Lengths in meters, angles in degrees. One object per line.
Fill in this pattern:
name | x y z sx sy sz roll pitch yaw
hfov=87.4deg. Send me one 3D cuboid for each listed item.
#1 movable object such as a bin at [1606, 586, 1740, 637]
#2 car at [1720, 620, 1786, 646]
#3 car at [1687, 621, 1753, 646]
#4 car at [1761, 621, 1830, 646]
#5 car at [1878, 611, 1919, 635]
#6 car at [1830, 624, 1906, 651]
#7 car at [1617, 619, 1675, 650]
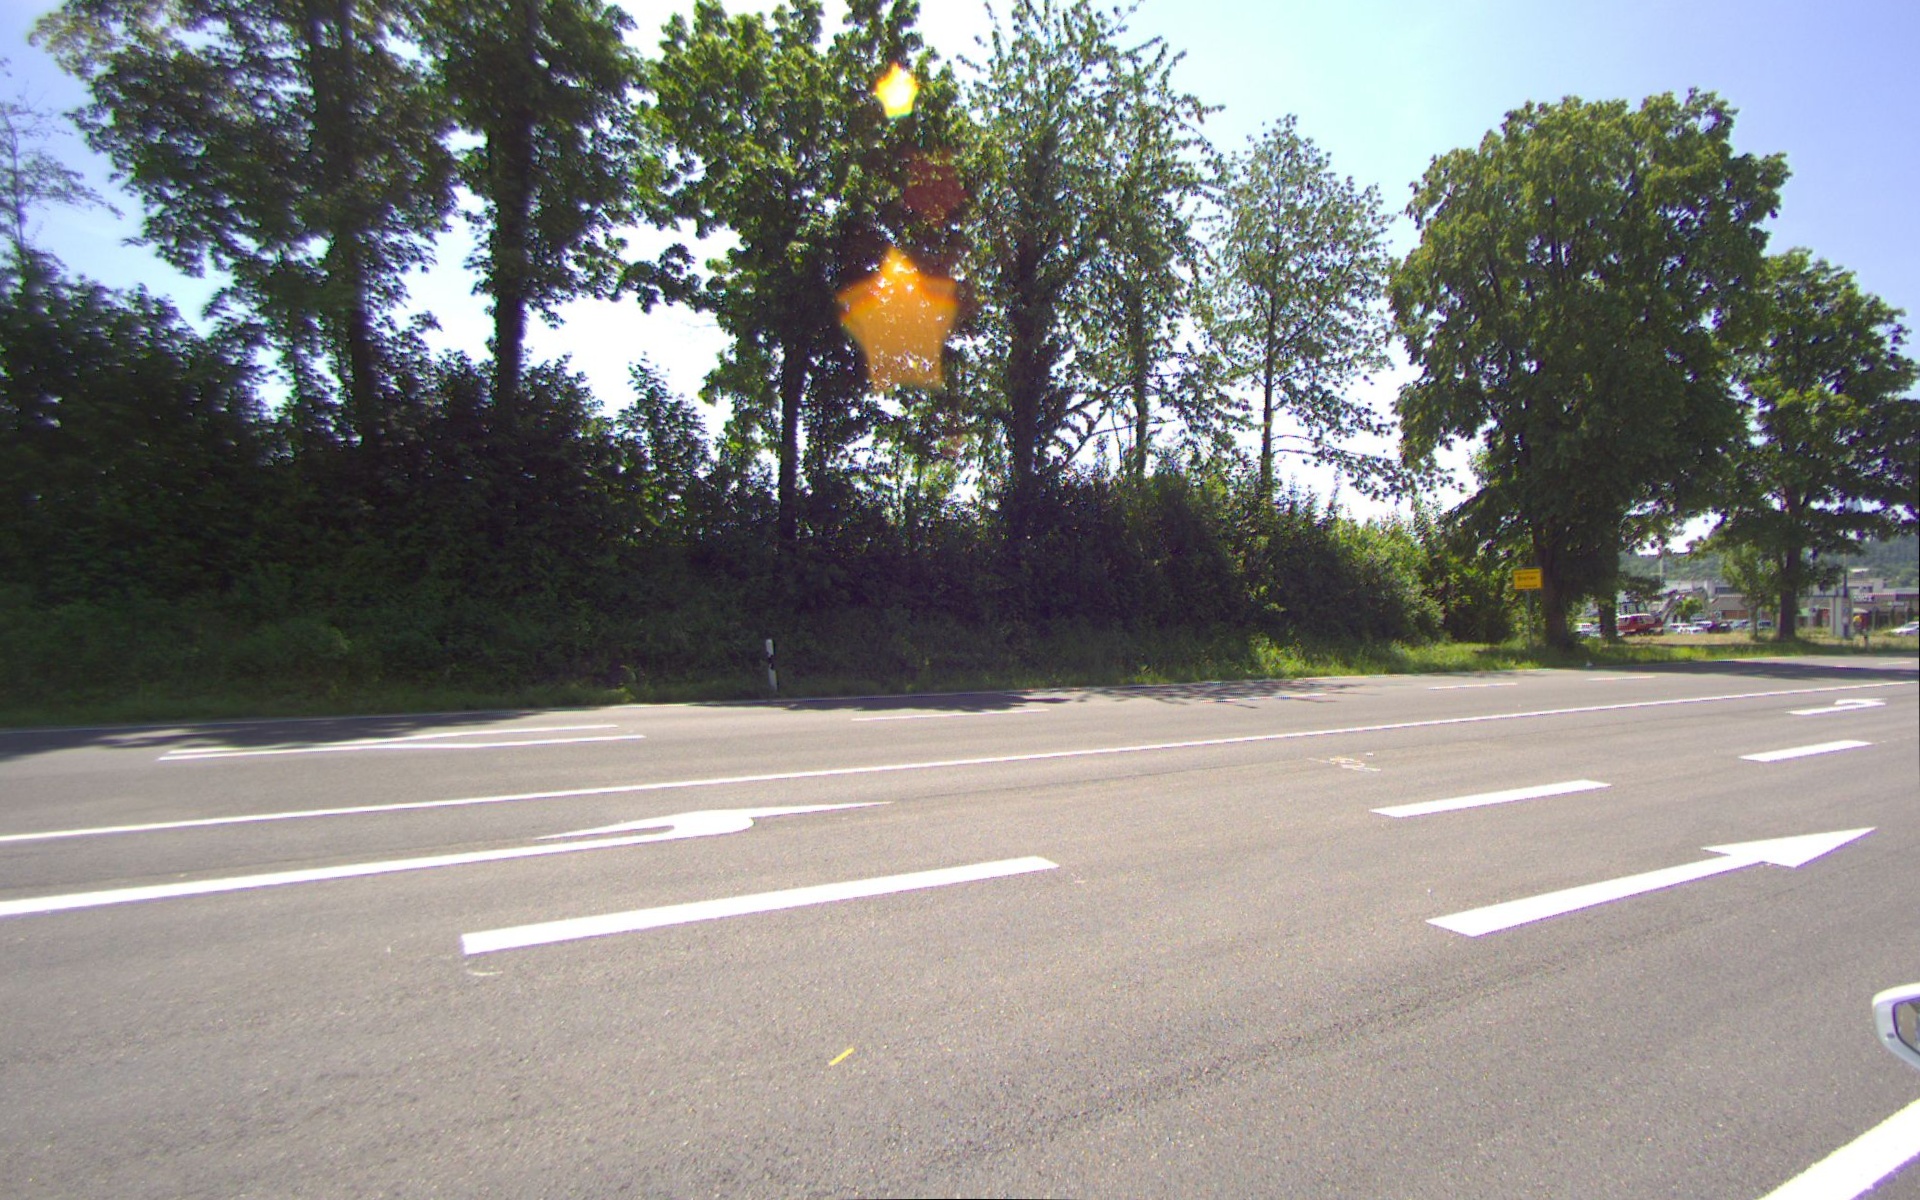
movable object such as a bin | 47.556 0.740 67.170 6.654 3.342 3.054 0 0 10
car | 55.832 2.292 70.780 1.803 1.639 4.002 1 0 6
car | 53.791 2.352 71.152 1.959 1.673 4.002 1 0 7
car | 58.667 2.315 70.604 1.803 1.639 4.002 1 0 6
car | 80.431 1.951 84.829 3.919 2.040 2.001 1 0 5
car | 61.620 2.522 68.229 1.803 1.639 4.002 1 0 6
car | 49.276 2.441 72.265 1.959 2.040 4.002 1 0 10
